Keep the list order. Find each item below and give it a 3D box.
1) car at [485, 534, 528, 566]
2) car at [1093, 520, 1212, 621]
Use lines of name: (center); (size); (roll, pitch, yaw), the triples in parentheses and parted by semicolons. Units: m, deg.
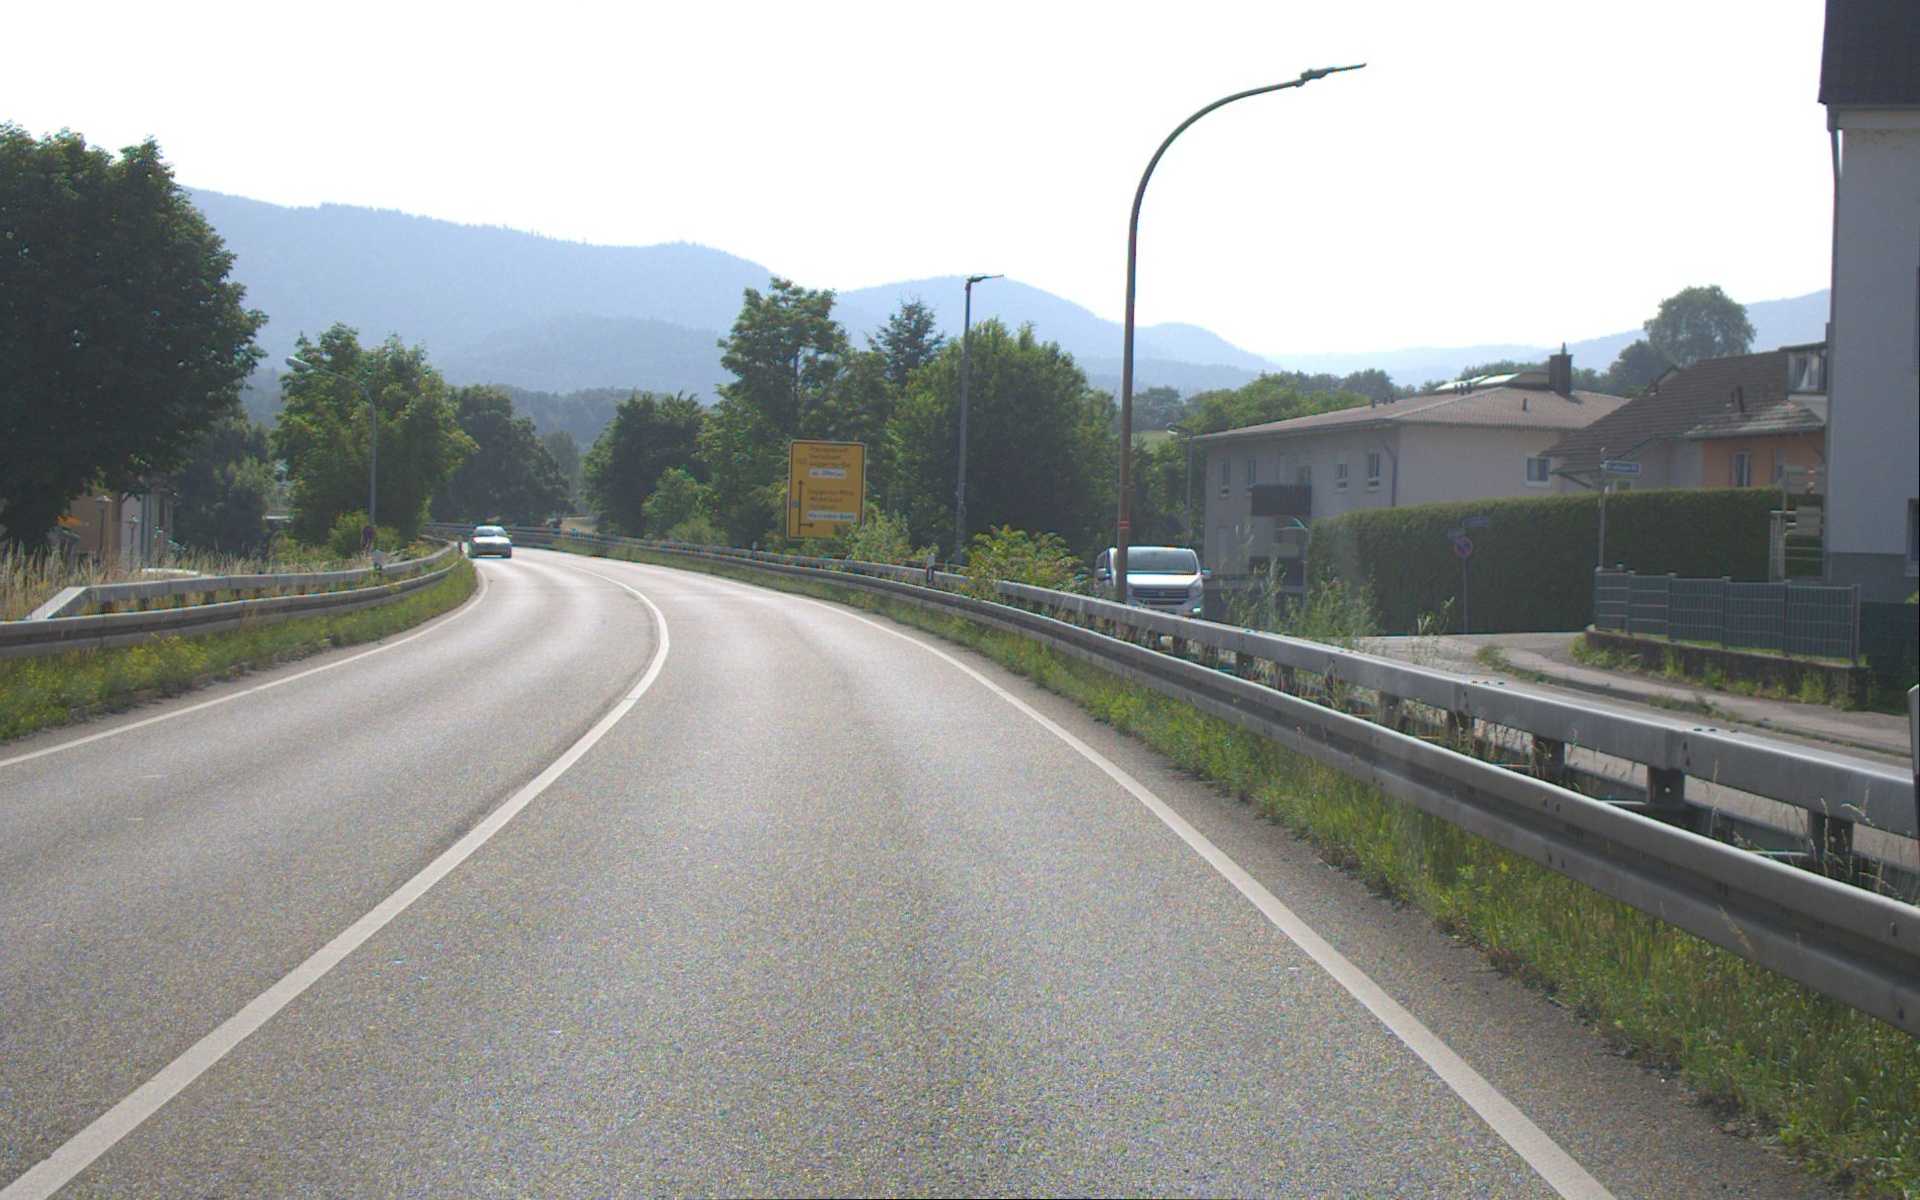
car: (-20.176, -2.247, 152.965); (1.758, 1.406, 3.990); (-1, 1, -6)
car: (3.879, -0.639, 70.105); (1.993, 1.938, 5.362); (1, 1, -1)
